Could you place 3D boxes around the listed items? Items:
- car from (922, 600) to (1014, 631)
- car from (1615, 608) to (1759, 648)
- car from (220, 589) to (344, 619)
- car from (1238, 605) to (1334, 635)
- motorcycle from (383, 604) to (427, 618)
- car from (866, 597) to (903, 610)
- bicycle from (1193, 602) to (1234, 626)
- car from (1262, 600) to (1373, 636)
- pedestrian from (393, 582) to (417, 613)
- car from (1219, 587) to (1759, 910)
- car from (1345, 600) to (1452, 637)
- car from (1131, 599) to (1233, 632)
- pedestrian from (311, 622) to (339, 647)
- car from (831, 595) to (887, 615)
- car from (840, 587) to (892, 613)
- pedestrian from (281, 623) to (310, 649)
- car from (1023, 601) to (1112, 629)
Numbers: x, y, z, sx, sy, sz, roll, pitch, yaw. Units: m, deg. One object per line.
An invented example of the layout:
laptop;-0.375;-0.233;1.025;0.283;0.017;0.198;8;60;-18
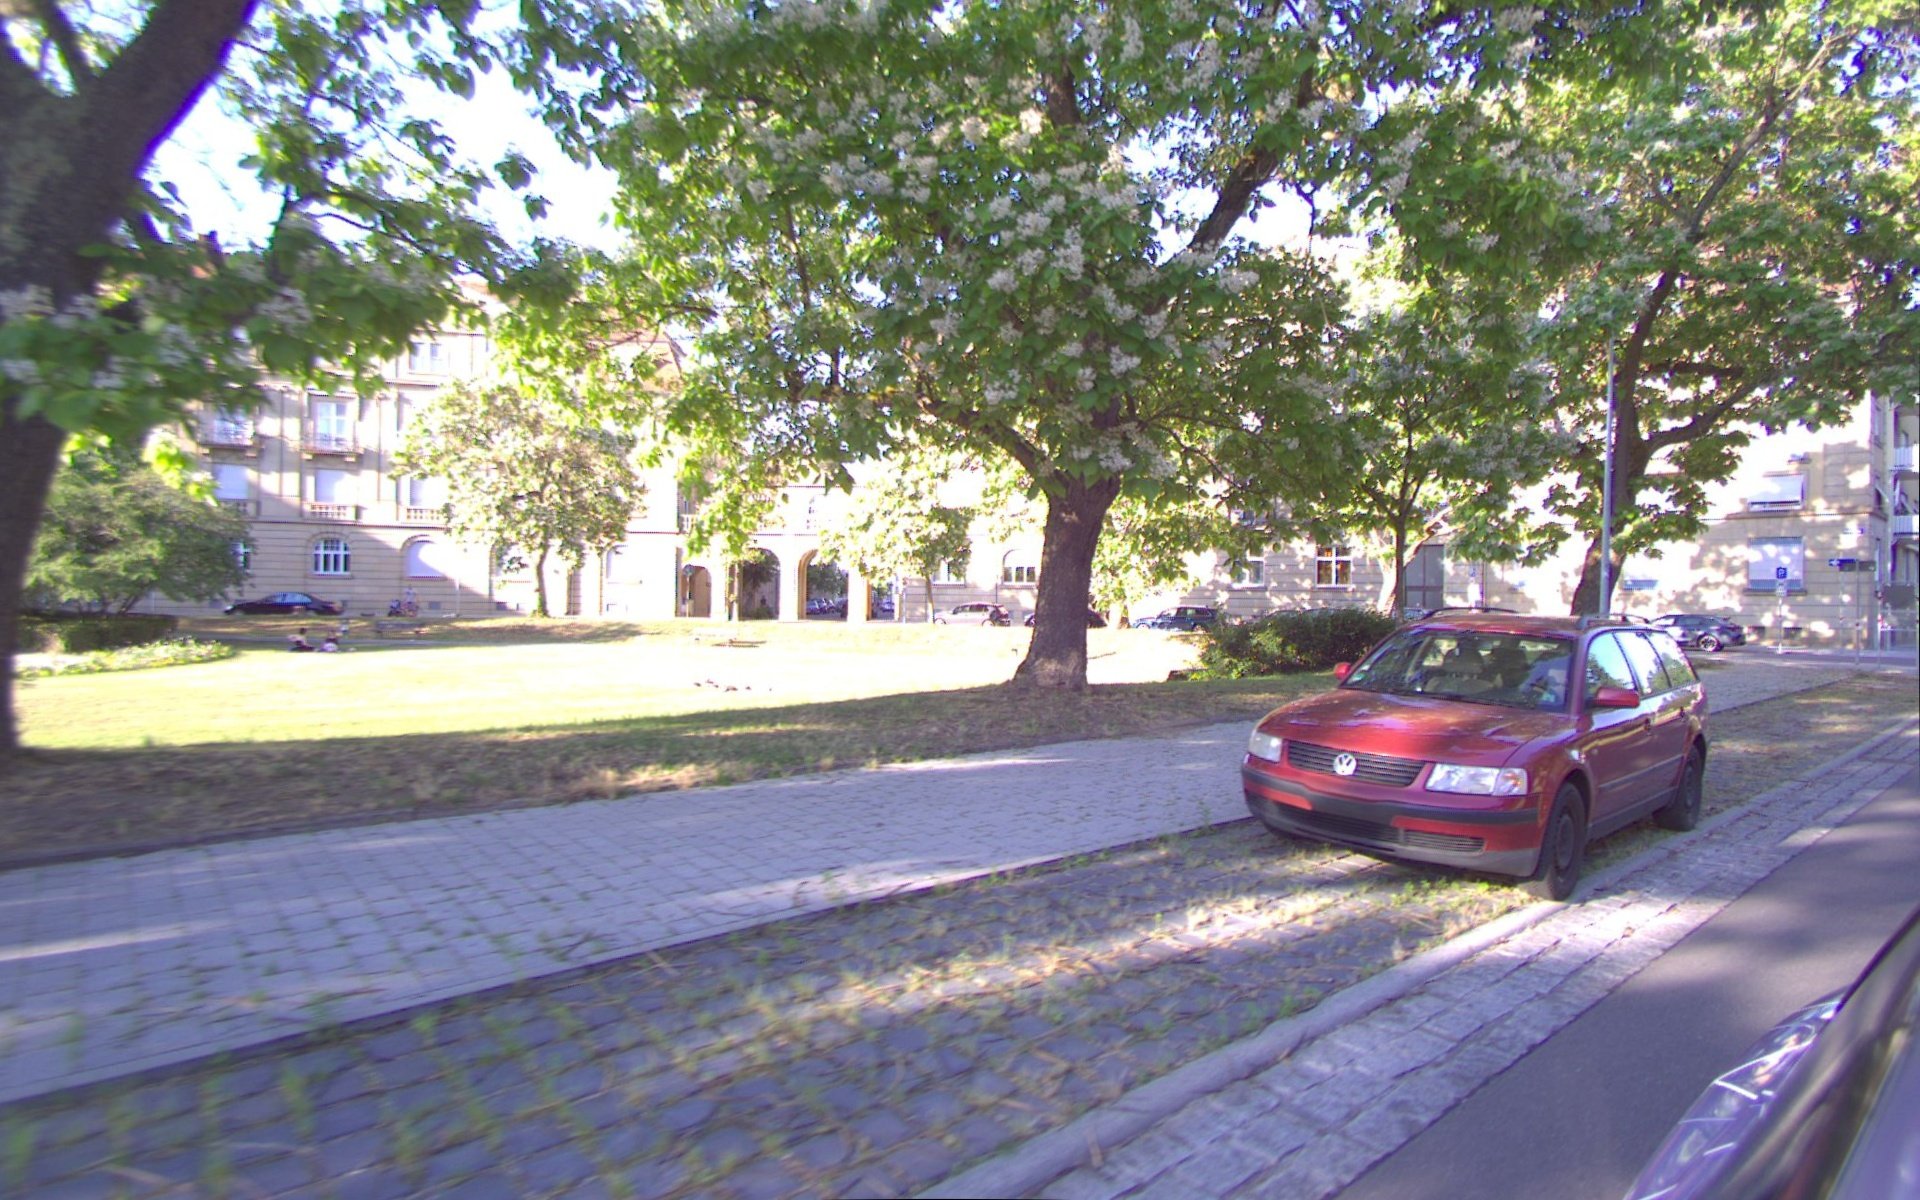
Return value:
car;0.418;0.769;51.185;4.317;1.435;1.807;1;0;21
car;28.914;1.069;40.340;1.904;1.437;4.441;0;1;-45
car;-34.063;0.215;50.952;4.845;1.435;1.823;1;0;-16
car;16.219;0.971;50.417;4.412;1.341;1.490;1;0;28
motorcycle;-27.406;0.520;49.963;1.825;0.679;0.682;0;0;-38
car;-9.160;0.441;122.609;4.288;1.435;1.819;1;0;0
bicycle;14.080;0.780;56.189;2.102;1.245;0.609;1;0;26
car;15.527;0.740;43.977;4.330;1.435;1.826;1;0;30
pedestrian;-27.414;-0.128;49.949;0.933;1.494;0.682;1;0;-38
car;3.872;0.694;6.939;4.725;1.505;1.681;0;0;-41
car;20.598;0.823;47.568;4.420;1.620;1.782;1;0;33
car;10.272;0.692;46.895;4.395;1.435;1.552;1;0;27
pedestrian;-23.121;1.263;36.864;0.664;0.892;0.578;0;-1;-3
car;-7.931;0.384;79.486;4.284;1.435;1.821;1;0;-5
car;-7.938;-0.029;85.774;4.286;2.134;1.820;1;0;-3
pedestrian;-23.484;1.269;35.780;0.664;0.892;0.578;0;-1;-3
car;5.920;0.791;55.542;4.590;1.435;1.808;1;0;19
